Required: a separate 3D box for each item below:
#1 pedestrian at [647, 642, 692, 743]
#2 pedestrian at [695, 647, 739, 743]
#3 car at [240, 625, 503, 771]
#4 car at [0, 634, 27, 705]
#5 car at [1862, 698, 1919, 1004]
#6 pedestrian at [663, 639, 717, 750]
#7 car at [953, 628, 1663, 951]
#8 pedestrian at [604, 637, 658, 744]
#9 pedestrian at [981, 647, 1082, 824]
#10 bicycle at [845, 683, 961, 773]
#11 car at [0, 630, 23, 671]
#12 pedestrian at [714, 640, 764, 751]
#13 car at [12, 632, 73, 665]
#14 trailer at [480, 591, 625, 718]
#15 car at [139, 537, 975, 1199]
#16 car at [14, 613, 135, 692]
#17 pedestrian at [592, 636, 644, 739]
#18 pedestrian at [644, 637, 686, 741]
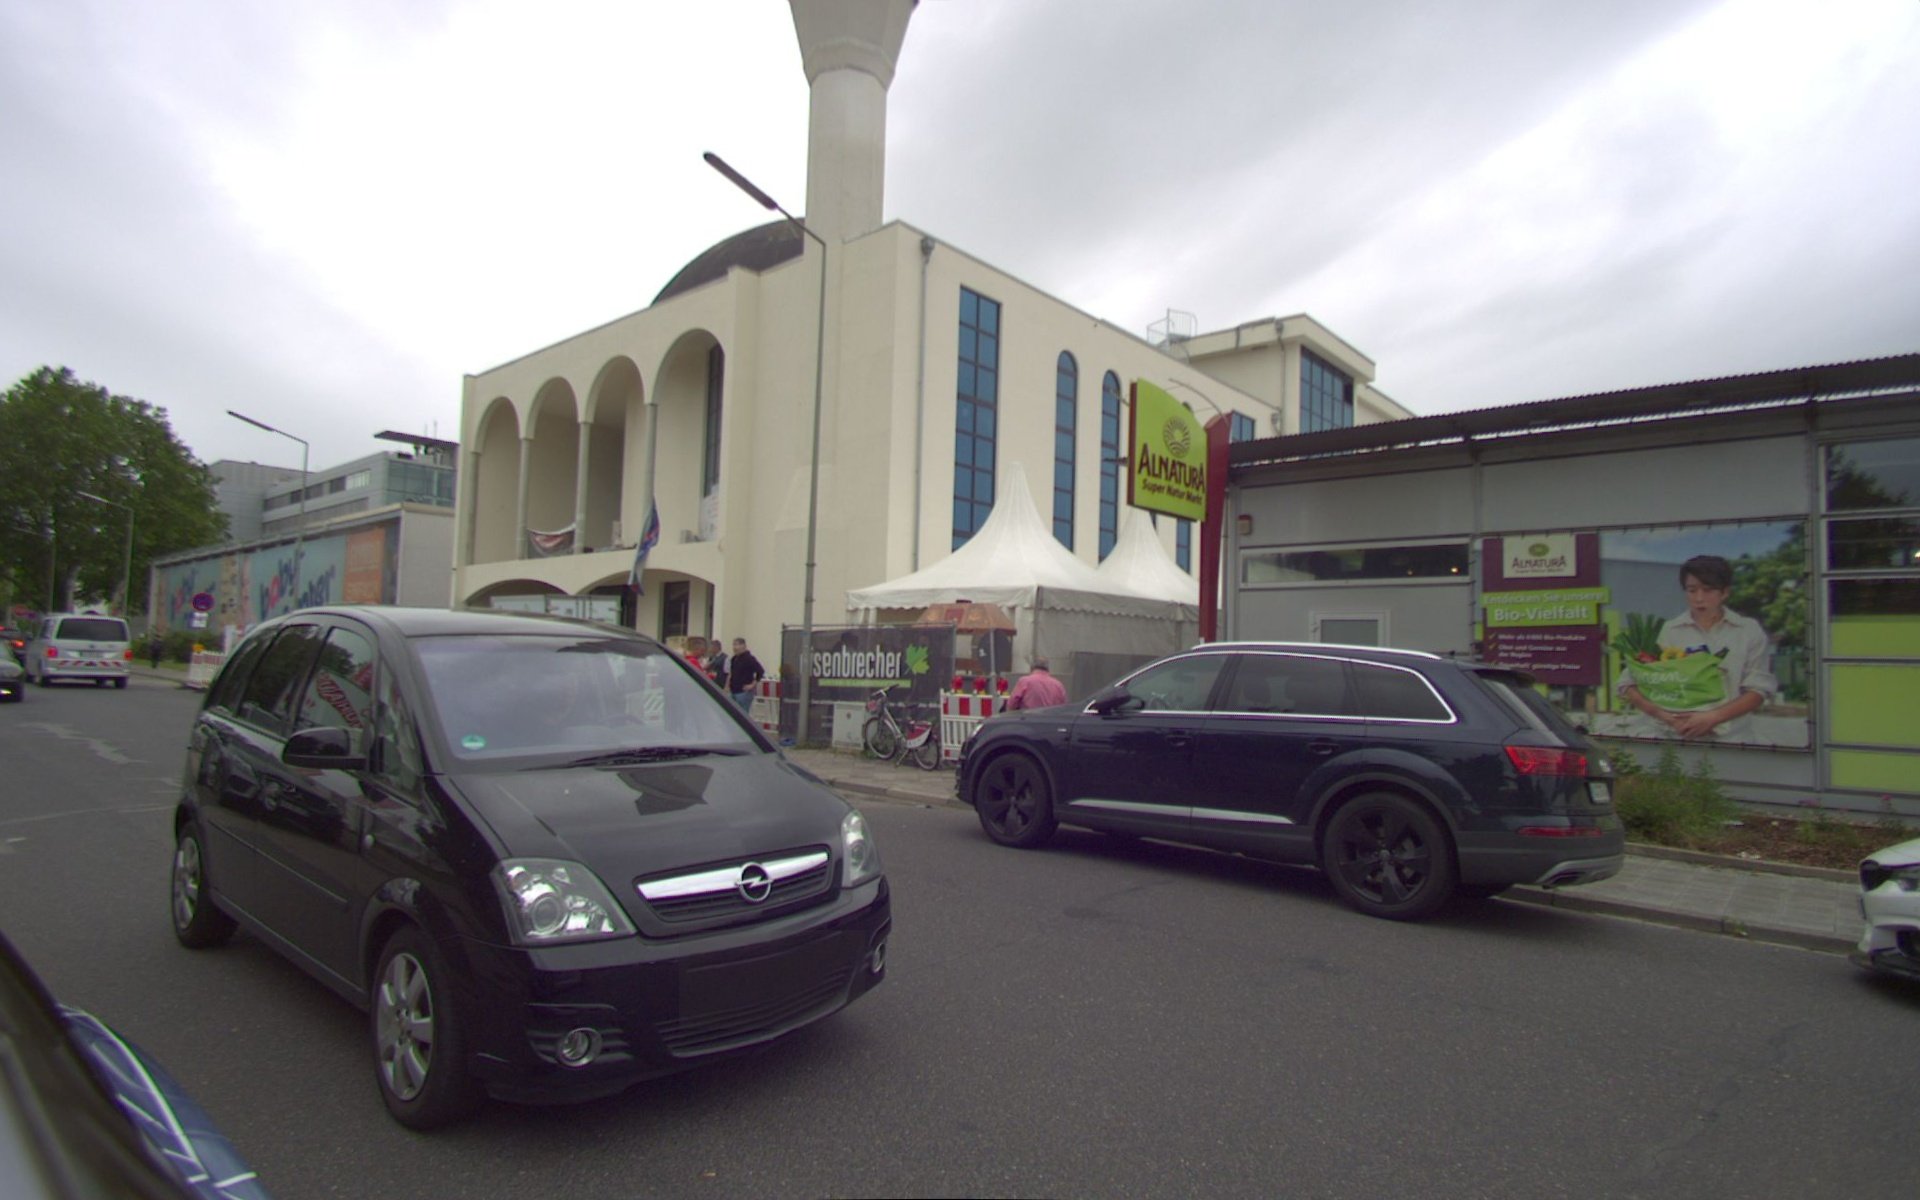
[{"bbox_3d":[-4.800,1.517,16.748,0.563,1.624,0.491,2,-4,-3],"label":"pedestrian"},{"bbox_3d":[-4.206,1.624,17.518,0.532,1.624,0.491,3,-3,-42],"label":"pedestrian"},{"bbox_3d":[-7.602,1.151,12.929,3.945,1.584,1.710,-2,-5,42],"label":"car"},{"bbox_3d":[-21.126,1.423,21.341,4.137,1.369,1.727,-1,-2,42],"label":"car"},{"bbox_3d":[6.532,1.233,3.889,4.516,1.378,1.681,-1,-9,41],"label":"car"},{"bbox_3d":[-4.094,1.429,15.359,0.535,1.624,0.488,1,-5,14],"label":"pedestrian"},{"bbox_3d":[2.342,1.163,7.693,4.728,1.704,1.845,-2,-8,43],"label":"car"},{"bbox_3d":[-5.527,1.514,17.028,0.681,1.763,0.491,2,-4,-3],"label":"pedestrian"},{"bbox_3d":[0.696,1.319,9.949,0.664,1.634,0.655,7,-7,-23],"label":"pedestrian"},{"bbox_3d":[-0.838,1.770,14.294,0.537,1.086,1.903,4,-3,-42],"label":"bicycle"},{"bbox_3d":[-41.740,2.091,43.254,4.652,1.674,1.938,-1,-7,42],"label":"car"},{"bbox_3d":[-3.592,1.535,16.491,0.685,1.731,0.688,-2,-3,-4],"label":"pedestrian"},{"bbox_3d":[-49.822,2.625,54.936,4.149,1.586,1.903,-2,-8,43],"label":"car"},{"bbox_3d":[-9.156,1.224,22.648,3.192,2.627,1.777,-2,-5,45],"label":"trailer"},{"bbox_3d":[-1.923,0.752,4.285,3.756,1.644,1.664,-1,-5,40],"label":"car"},{"bbox_3d":[-24.914,1.429,28.414,4.955,2.029,1.906,-1,-4,43],"label":"car"},{"bbox_3d":[-5.998,1.530,17.791,0.681,1.763,0.491,2,-4,-3],"label":"pedestrian"},{"bbox_3d":[-5.147,1.541,17.672,0.521,1.763,0.491,2,-4,-3],"label":"pedestrian"}]
